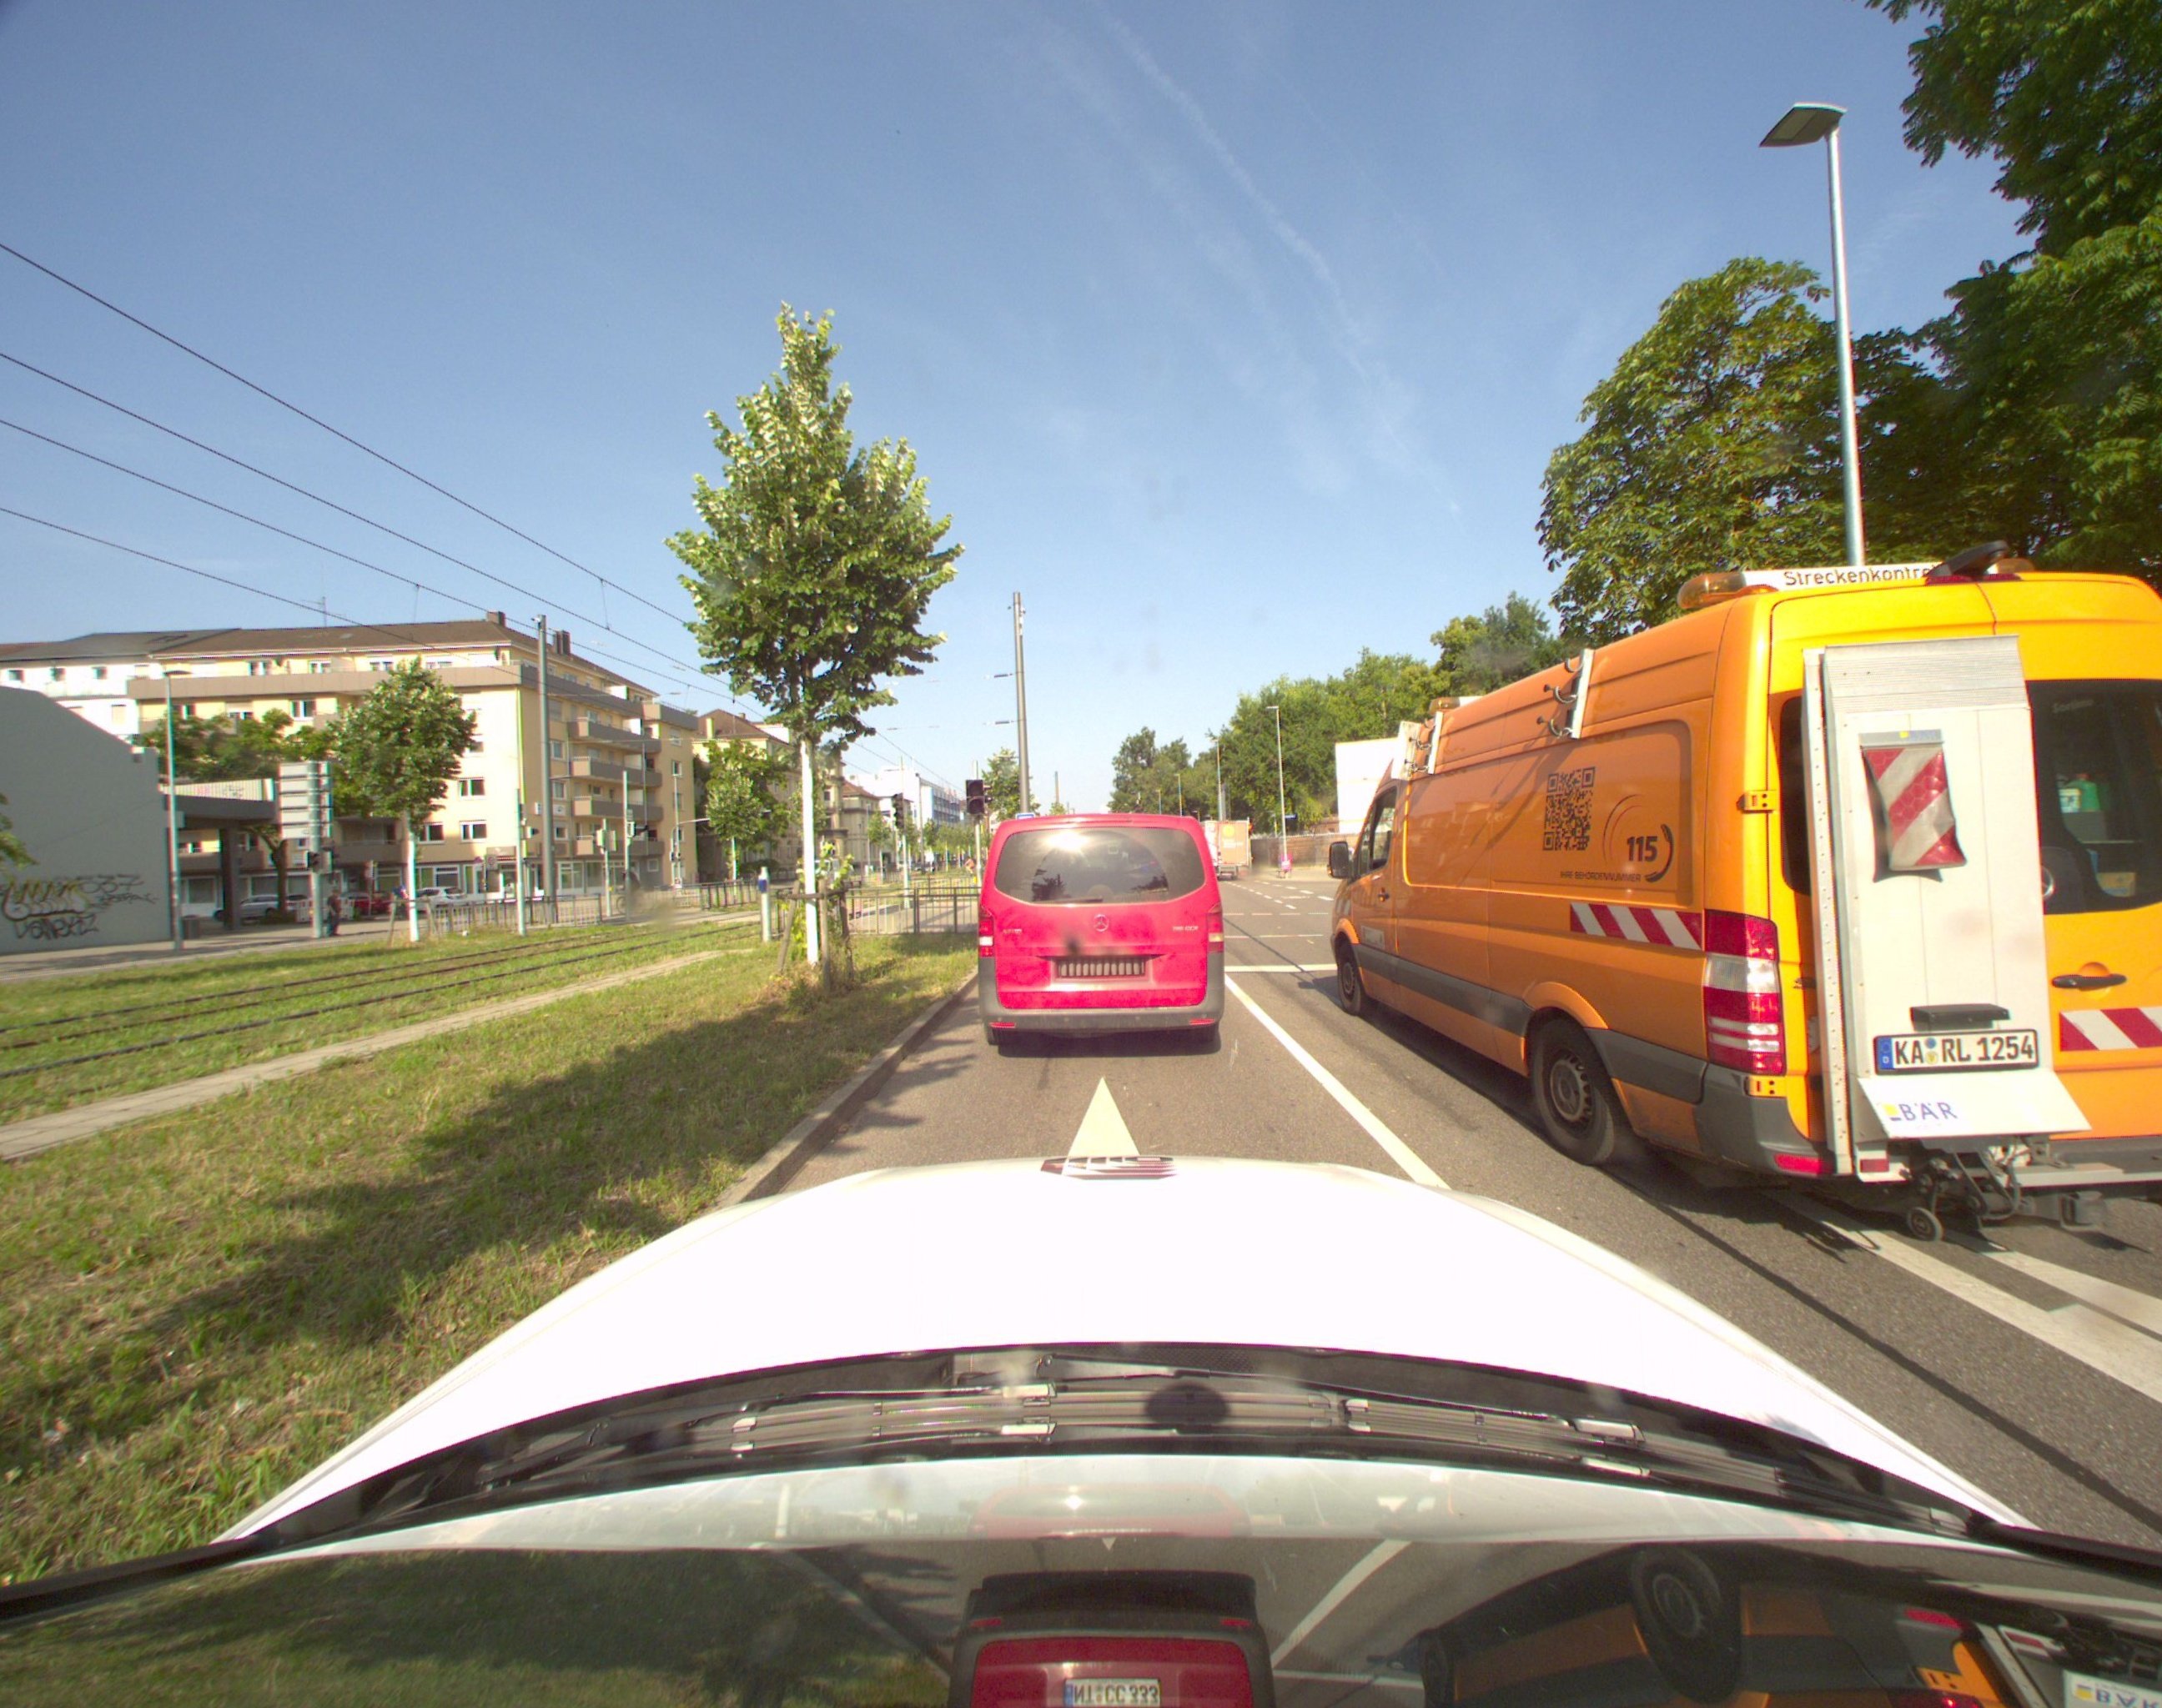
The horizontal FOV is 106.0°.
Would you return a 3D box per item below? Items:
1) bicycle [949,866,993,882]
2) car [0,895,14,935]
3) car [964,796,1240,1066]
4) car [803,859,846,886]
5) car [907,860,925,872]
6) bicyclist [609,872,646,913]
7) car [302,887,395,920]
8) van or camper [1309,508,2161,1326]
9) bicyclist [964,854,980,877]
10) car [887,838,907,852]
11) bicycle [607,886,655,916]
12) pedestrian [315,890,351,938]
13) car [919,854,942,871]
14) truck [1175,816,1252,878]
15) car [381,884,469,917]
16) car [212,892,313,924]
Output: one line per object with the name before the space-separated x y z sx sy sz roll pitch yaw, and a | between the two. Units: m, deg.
bicycle | -7.943 1.435 58.766 2.971 0.965 0.902 -2 0 7
car | -54.446 3.035 38.316 1.986 1.968 4.833 -3 -1 1
car | 0.211 0.535 7.653 1.894 1.859 4.002 -1 0 2
car | -23.083 1.585 73.459 2.039 2.238 5.334 -2 0 0
car | -25.300 1.771 124.627 1.736 1.673 4.002 -3 0 2
bicyclist | -16.580 1.410 29.773 0.962 1.395 0.549 -5 1 21
car | -43.440 2.935 48.347 3.778 1.688 1.773 -3 0 -3
van or camper | 3.316 0.209 5.502 1.978 2.472 6.063 -1 -1 2
bicyclist | -7.888 0.803 58.757 0.885 1.628 0.894 -3 0 7
car | -29.977 -1.403 132.792 2.243 2.014 5.260 0 -2 -1
bicycle | -16.412 1.732 29.726 1.593 0.935 0.560 -5 1 21
pedestrian | -27.388 2.190 29.824 0.655 1.690 0.646 -3 0 4
car | -19.756 1.075 106.755 1.986 2.013 4.001 -5 -1 2
truck | 7.017 -0.304 44.211 2.497 3.061 7.810 0 -1 -3
car | -38.908 2.734 48.367 3.614 1.583 1.708 -3 2 -3
car | -48.395 3.166 48.205 3.931 1.604 1.814 -3 0 -3
